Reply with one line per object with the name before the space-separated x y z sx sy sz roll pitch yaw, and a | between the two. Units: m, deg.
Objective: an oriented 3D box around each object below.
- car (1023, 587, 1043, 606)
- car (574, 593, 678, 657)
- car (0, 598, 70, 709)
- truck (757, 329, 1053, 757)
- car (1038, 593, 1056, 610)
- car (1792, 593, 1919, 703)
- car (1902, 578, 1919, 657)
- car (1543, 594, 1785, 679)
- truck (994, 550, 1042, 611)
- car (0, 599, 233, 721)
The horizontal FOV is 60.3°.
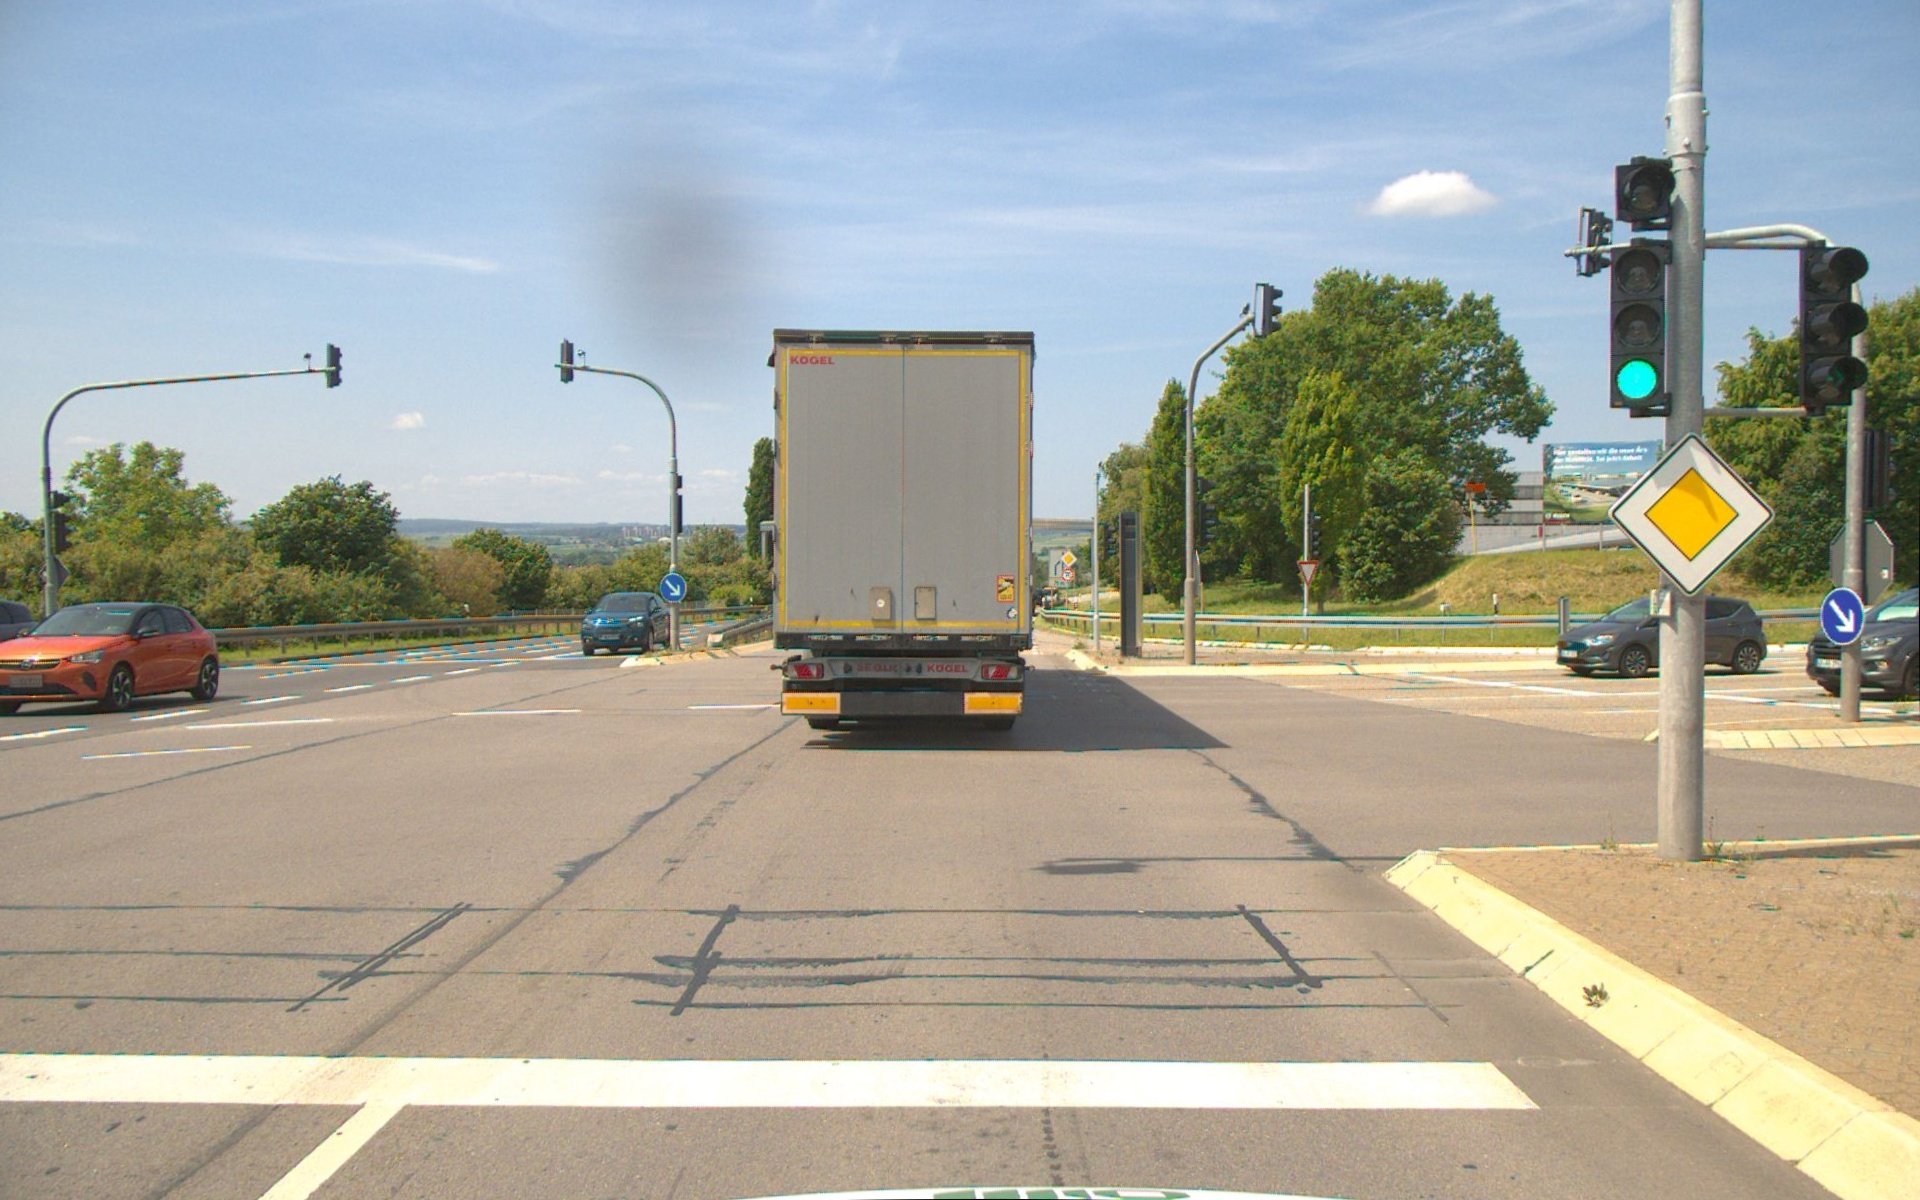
car | 6.832 -0.310 154.288 1.749 1.717 4.001 1 -1 3
car | -8.365 0.599 41.770 1.719 1.494 4.196 -1 0 0
car | -15.084 0.822 24.305 1.610 1.652 4.327 -2 -1 0
truck | -0.845 -0.550 21.231 2.744 3.998 11.333 1 0 -3
car | 9.110 0.140 172.855 1.749 1.717 4.001 1 -1 3
car | 15.012 0.665 24.988 4.283 1.537 1.710 -1 0 -14
car | 21.708 0.279 33.621 4.279 1.620 1.776 -2 0 -10
car | 13.209 0.659 31.117 3.914 1.537 1.712 0 0 -10
truck | 3.984 -1.229 111.274 2.599 3.830 10.167 1 -1 5
car | -11.949 0.773 23.221 1.610 1.523 4.066 -2 0 1
